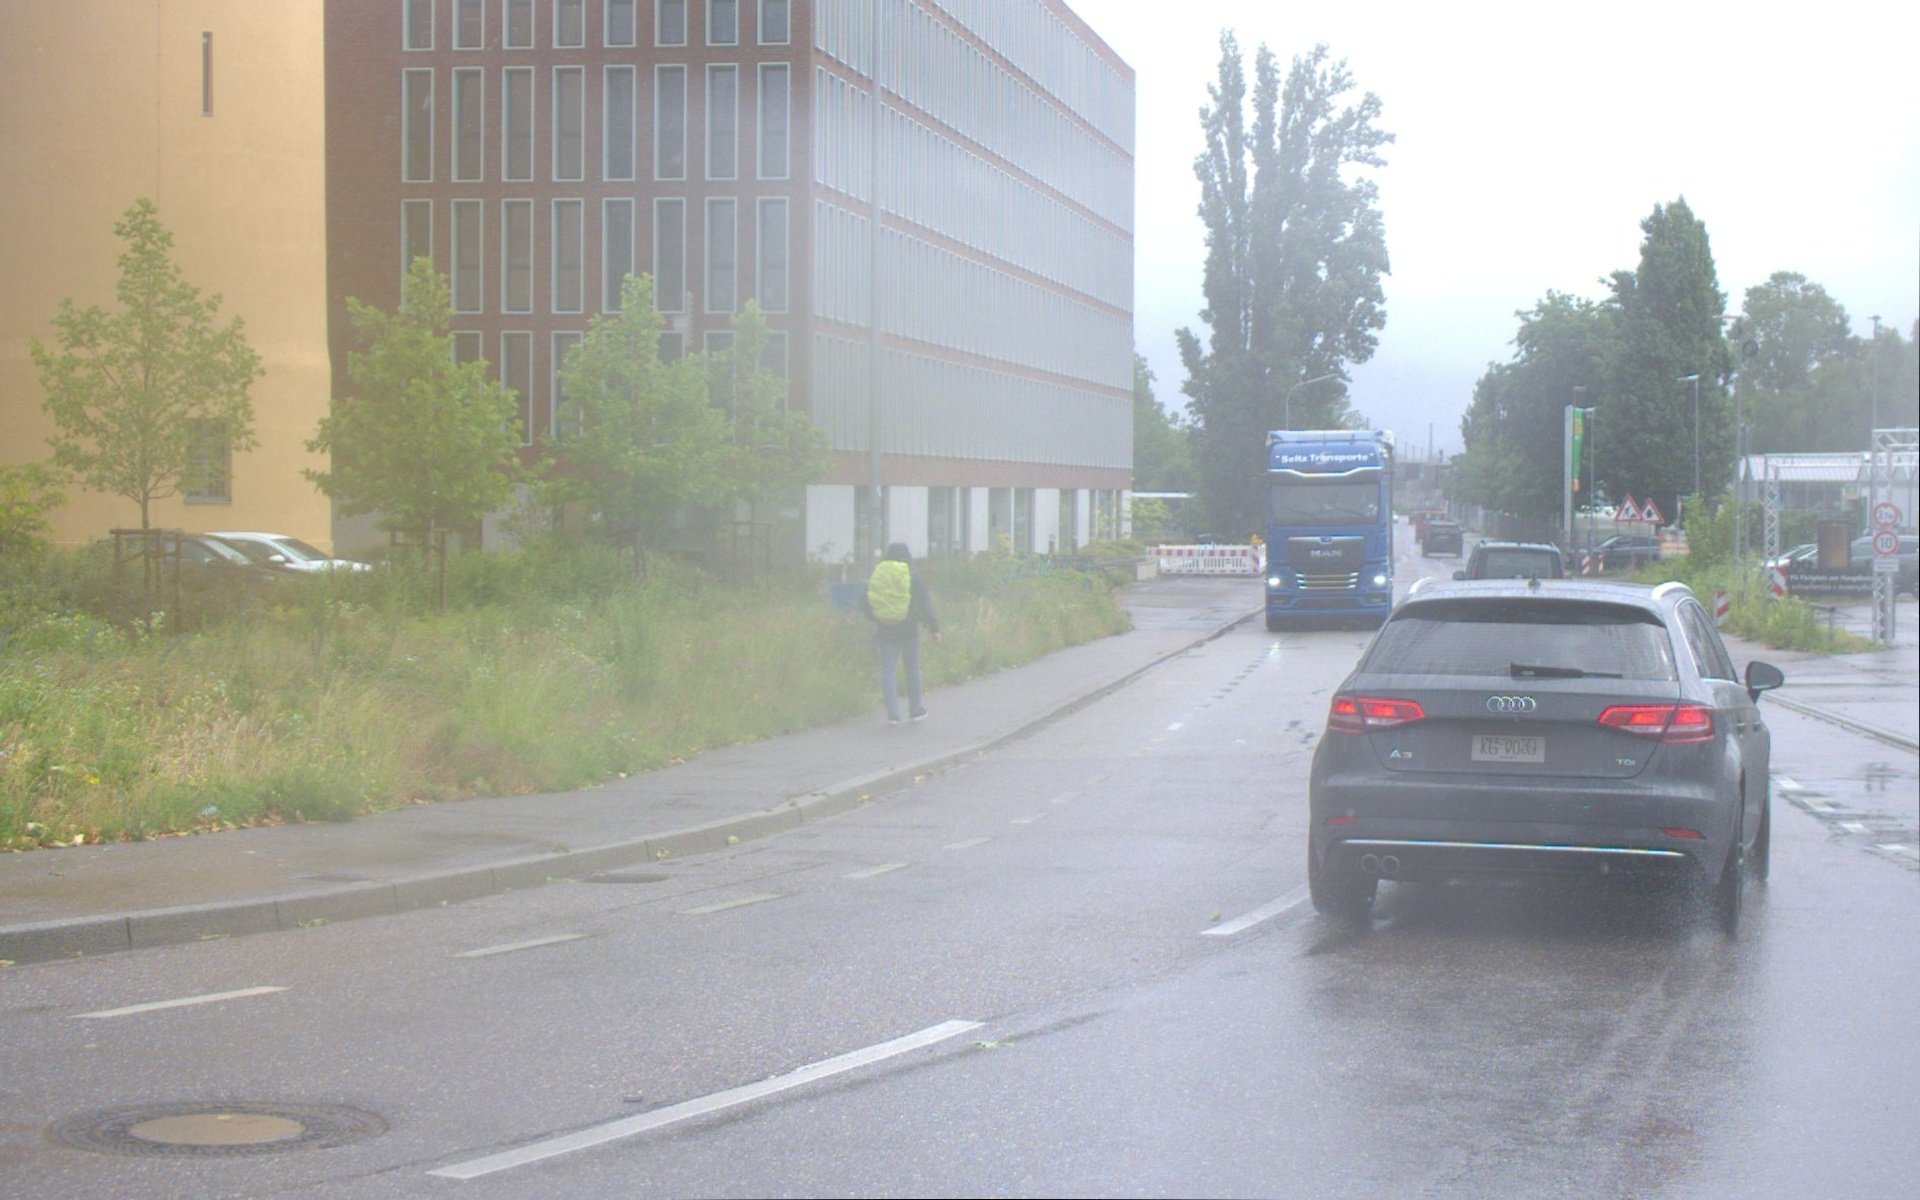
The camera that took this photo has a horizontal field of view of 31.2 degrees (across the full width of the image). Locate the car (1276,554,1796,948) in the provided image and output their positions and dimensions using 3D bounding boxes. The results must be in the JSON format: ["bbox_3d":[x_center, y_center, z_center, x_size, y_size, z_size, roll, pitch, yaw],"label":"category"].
[{"bbox_3d":[2.726,0.556,15.465,1.896,1.451,4.224,2,1,15],"label":"car"}]

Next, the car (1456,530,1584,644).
[{"bbox_3d":[9.673,-0.249,59.666,1.994,1.904,4.200,0,1,7],"label":"car"}]

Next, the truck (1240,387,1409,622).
[{"bbox_3d":[7.550,-1.945,71.207,3.295,4.638,6.032,1,1,6],"label":"truck"}]

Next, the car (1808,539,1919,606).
[{"bbox_3d":[24.858,-0.722,90.809,4.683,1.729,2.127,0,0,12],"label":"car"}]

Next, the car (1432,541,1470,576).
[{"bbox_3d":[24.318,-2.064,170.236,1.731,1.681,3.895,1,1,10],"label":"car"}]

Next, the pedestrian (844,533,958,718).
[{"bbox_3d":[-0.551,0.230,32.475,0.909,1.712,1.026,1,1,8],"label":"pedestrian"}]

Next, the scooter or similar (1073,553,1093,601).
[{"bbox_3d":[3.246,-0.610,90.812,0.466,1.226,1.320,0,1,5],"label":"scooter or similar"}]

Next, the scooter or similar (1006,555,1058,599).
[{"bbox_3d":[1.924,-0.616,91.682,1.317,1.173,0.467,0,1,14],"label":"scooter or similar"}]

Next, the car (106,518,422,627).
[{"bbox_3d":[-11.016,-0.439,54.627,4.522,1.635,2.000,1,1,5],"label":"car"}]

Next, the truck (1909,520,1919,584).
[{"bbox_3d":[41.913,-2.072,146.466,2.302,2.650,7.413,0,1,11],"label":"truck"}]

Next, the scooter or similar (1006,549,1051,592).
[{"bbox_3d":[1.935,-0.826,97.098,1.227,1.204,0.417,0,1,15],"label":"scooter or similar"}]

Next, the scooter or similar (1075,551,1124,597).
[{"bbox_3d":[3.788,-0.699,93.411,1.319,1.226,0.466,1,1,37],"label":"scooter or similar"}]

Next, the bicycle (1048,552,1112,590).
[{"bbox_3d":[3.682,-0.904,105.419,1.860,1.073,0.544,3,1,7],"label":"bicycle"}]

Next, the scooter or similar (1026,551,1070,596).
[{"bbox_3d":[2.406,-0.725,94.222,1.204,1.226,0.467,-1,2,-40],"label":"scooter or similar"}]
